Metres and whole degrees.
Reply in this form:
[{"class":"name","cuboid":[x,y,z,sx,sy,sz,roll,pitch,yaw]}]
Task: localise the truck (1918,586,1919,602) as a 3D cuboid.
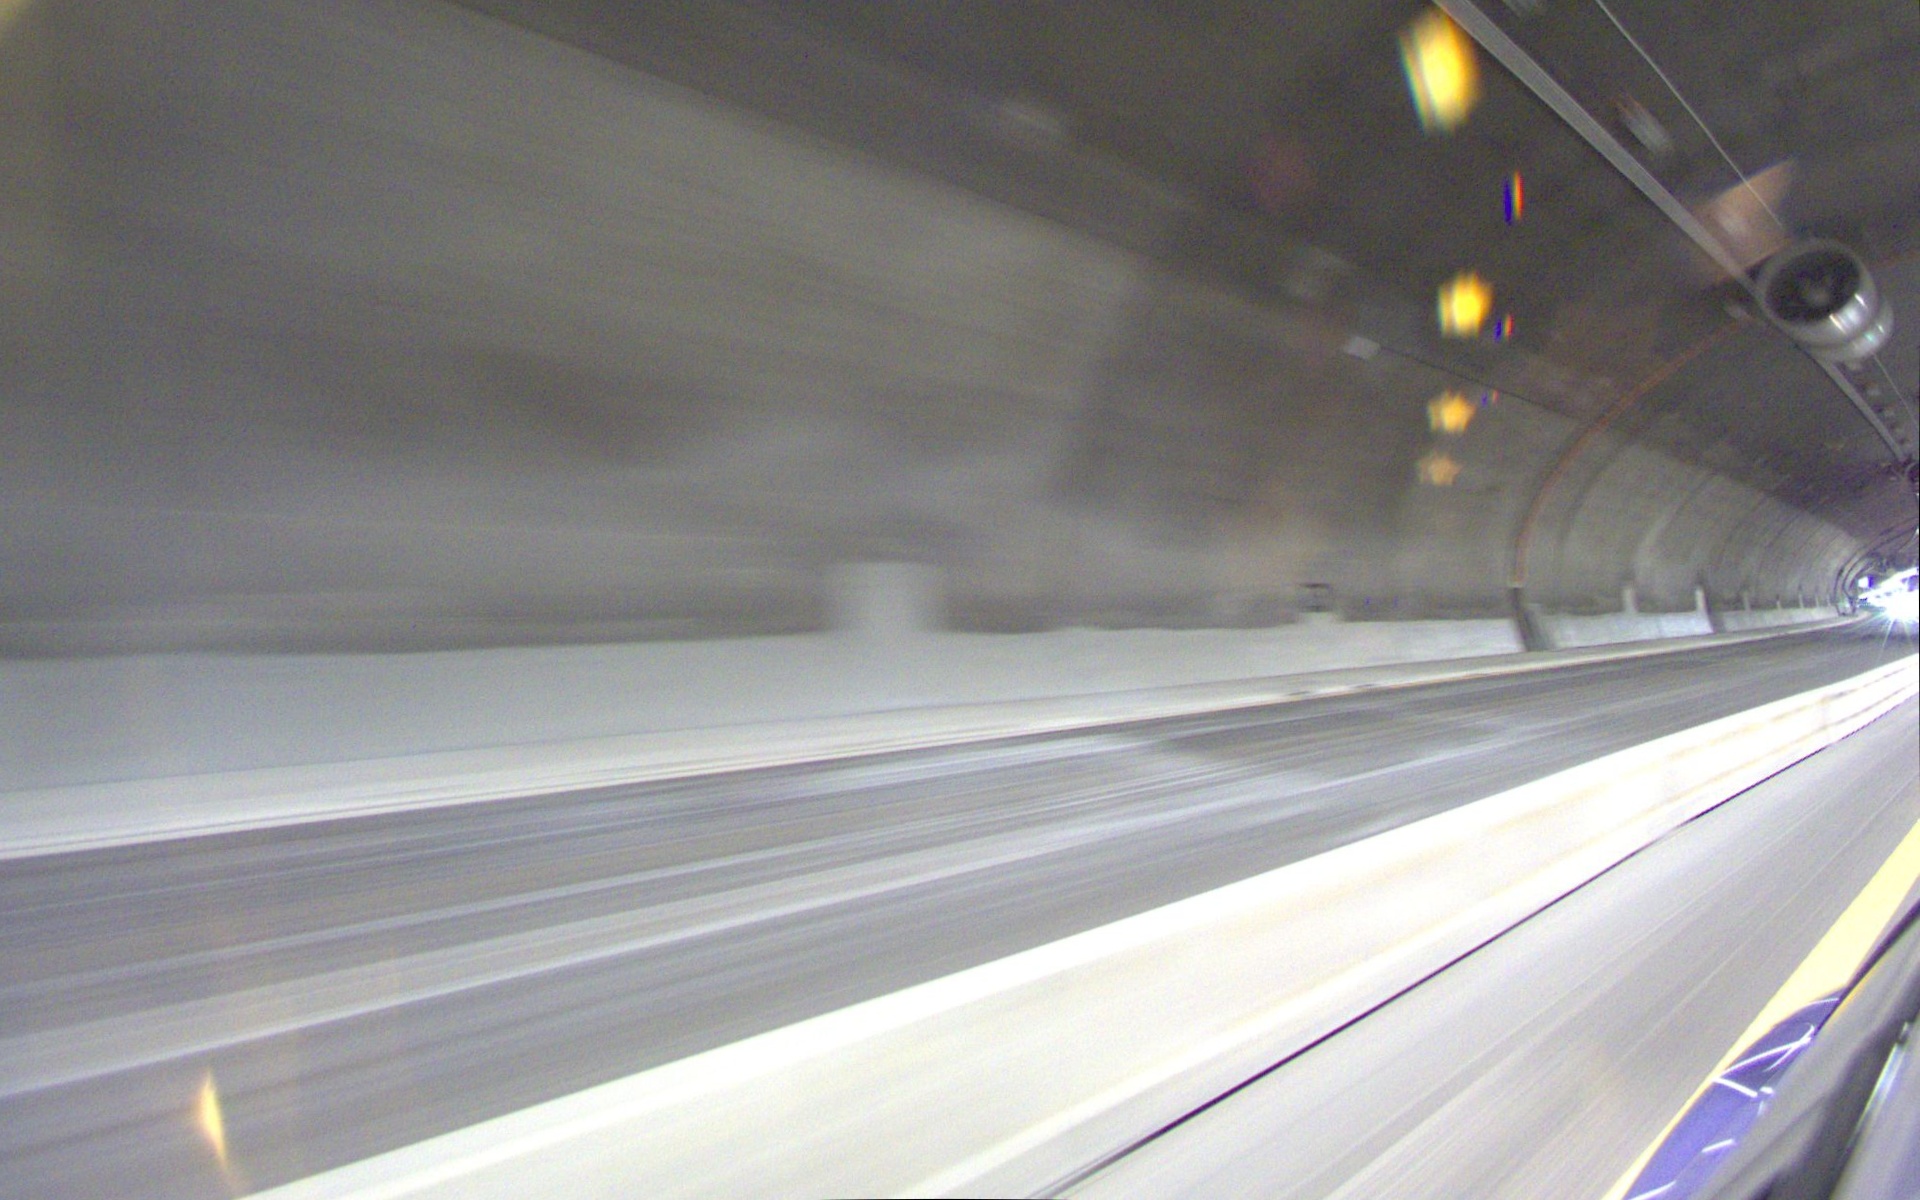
[{"class":"truck","cuboid":[168.746,-1.066,176.218,2.601,2.774,6.302,0,0,41]}]
